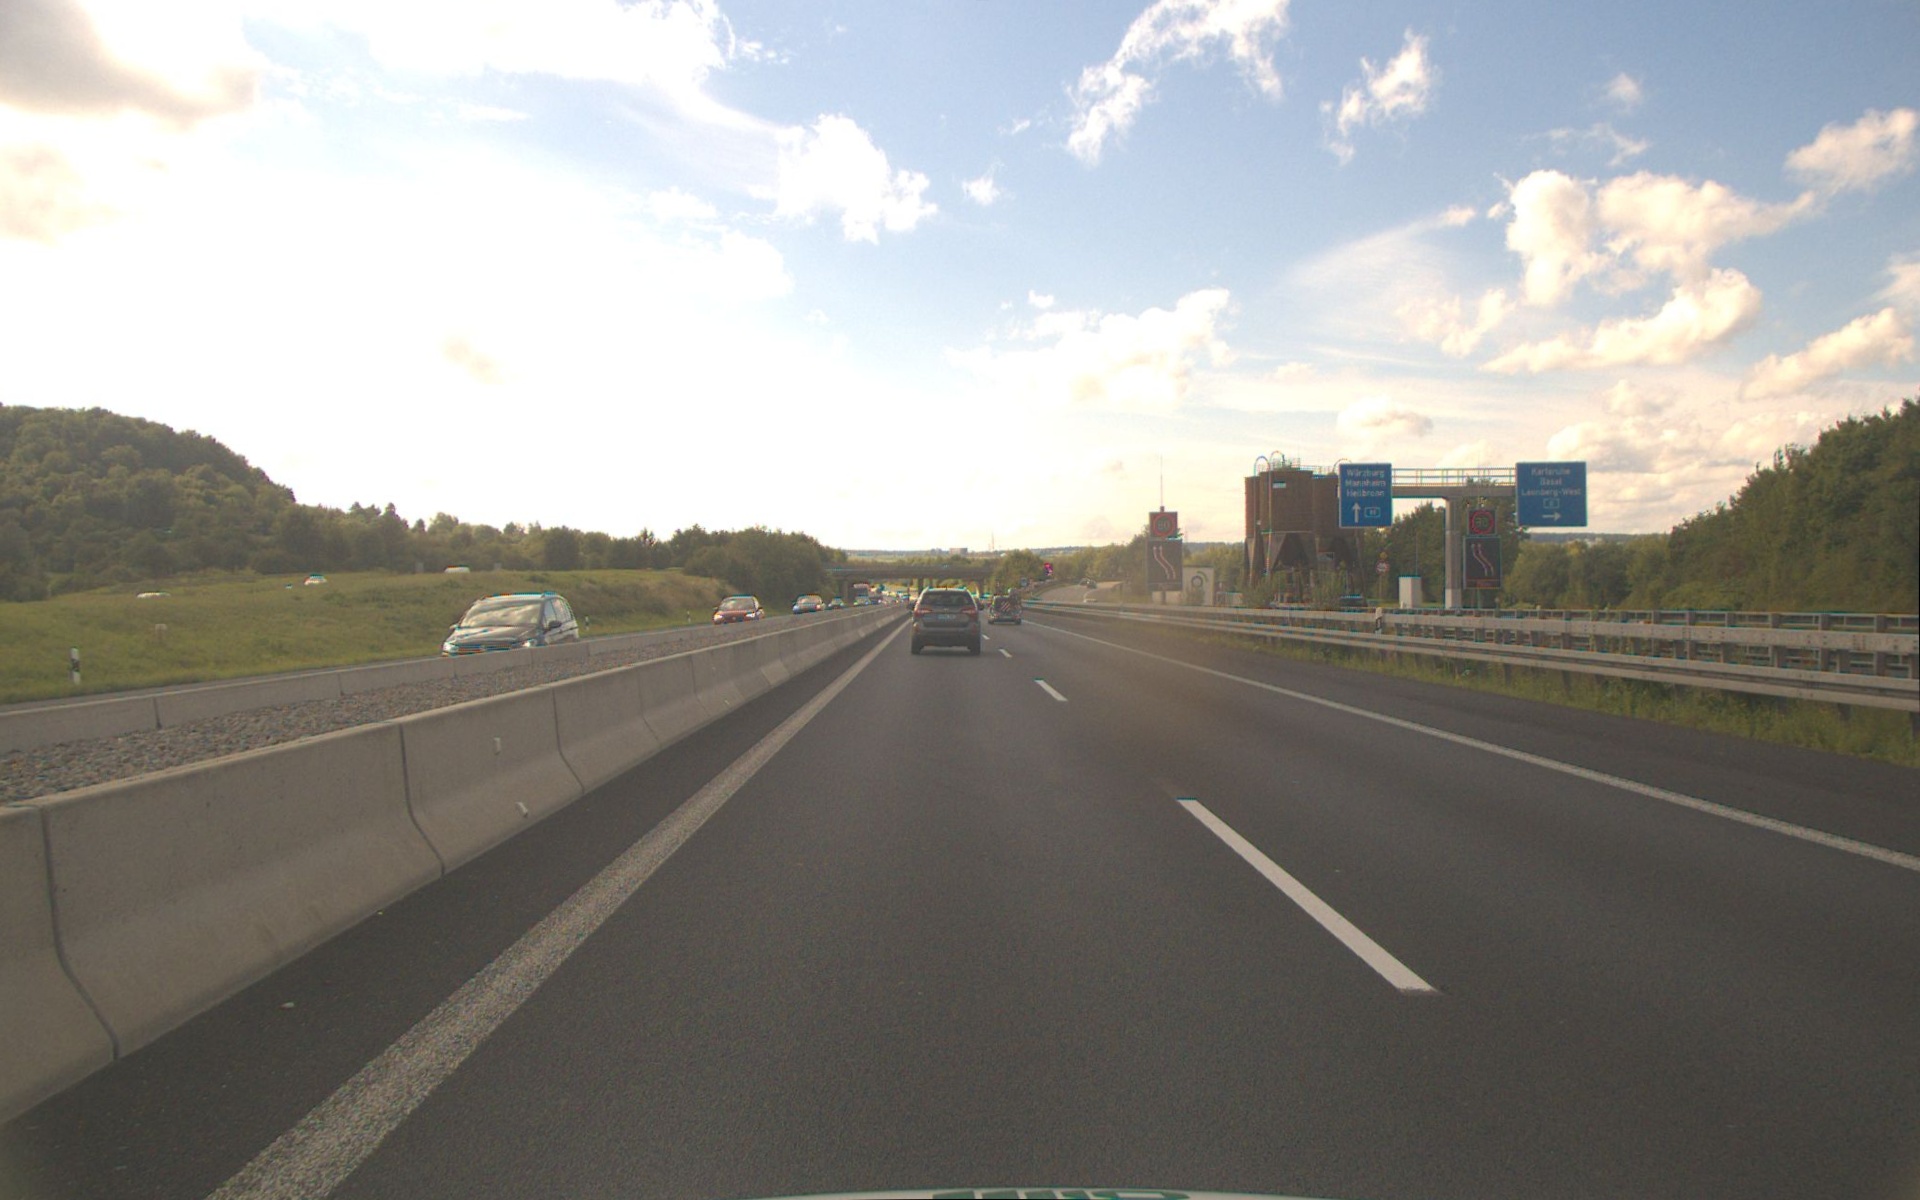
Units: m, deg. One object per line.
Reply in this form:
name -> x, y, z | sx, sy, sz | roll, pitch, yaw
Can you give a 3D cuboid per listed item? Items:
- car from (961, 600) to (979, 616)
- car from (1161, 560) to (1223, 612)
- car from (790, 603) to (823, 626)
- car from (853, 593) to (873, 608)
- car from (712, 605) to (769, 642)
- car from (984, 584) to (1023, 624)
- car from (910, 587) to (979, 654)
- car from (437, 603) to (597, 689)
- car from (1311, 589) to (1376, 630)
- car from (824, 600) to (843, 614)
car -> 1.155, 0.940, 192.316 | 1.935, 1.810, 4.119 | -2, 0, -1
car -> 17.659, -1.019, 126.612 | 3.504, 3.741, 7.547 | -2, 0, -1
car -> -10.129, 0.939, 109.345 | 1.751, 1.422, 4.622 | -2, 0, -1
car -> -11.225, 0.032, 192.103 | 1.953, 1.600, 5.365 | -2, 0, 0
car -> -9.130, 0.971, 69.181 | 1.751, 1.422, 4.798 | -2, 0, -1
car -> 2.434, 0.213, 92.801 | 1.953, 2.117, 3.999 | -2, 0, -1
car -> -0.367, 0.528, 44.220 | 1.714, 1.659, 3.609 | -2, 0, 1
car -> -8.201, 0.802, 31.065 | 1.751, 1.422, 4.724 | -2, 0, -1
car -> 17.602, 0.437, 76.052 | 1.953, 1.747, 3.999 | -2, 0, -1
car -> -15.319, 0.846, 200.413 | 1.953, 1.504, 4.691 | -2, 0, 0
